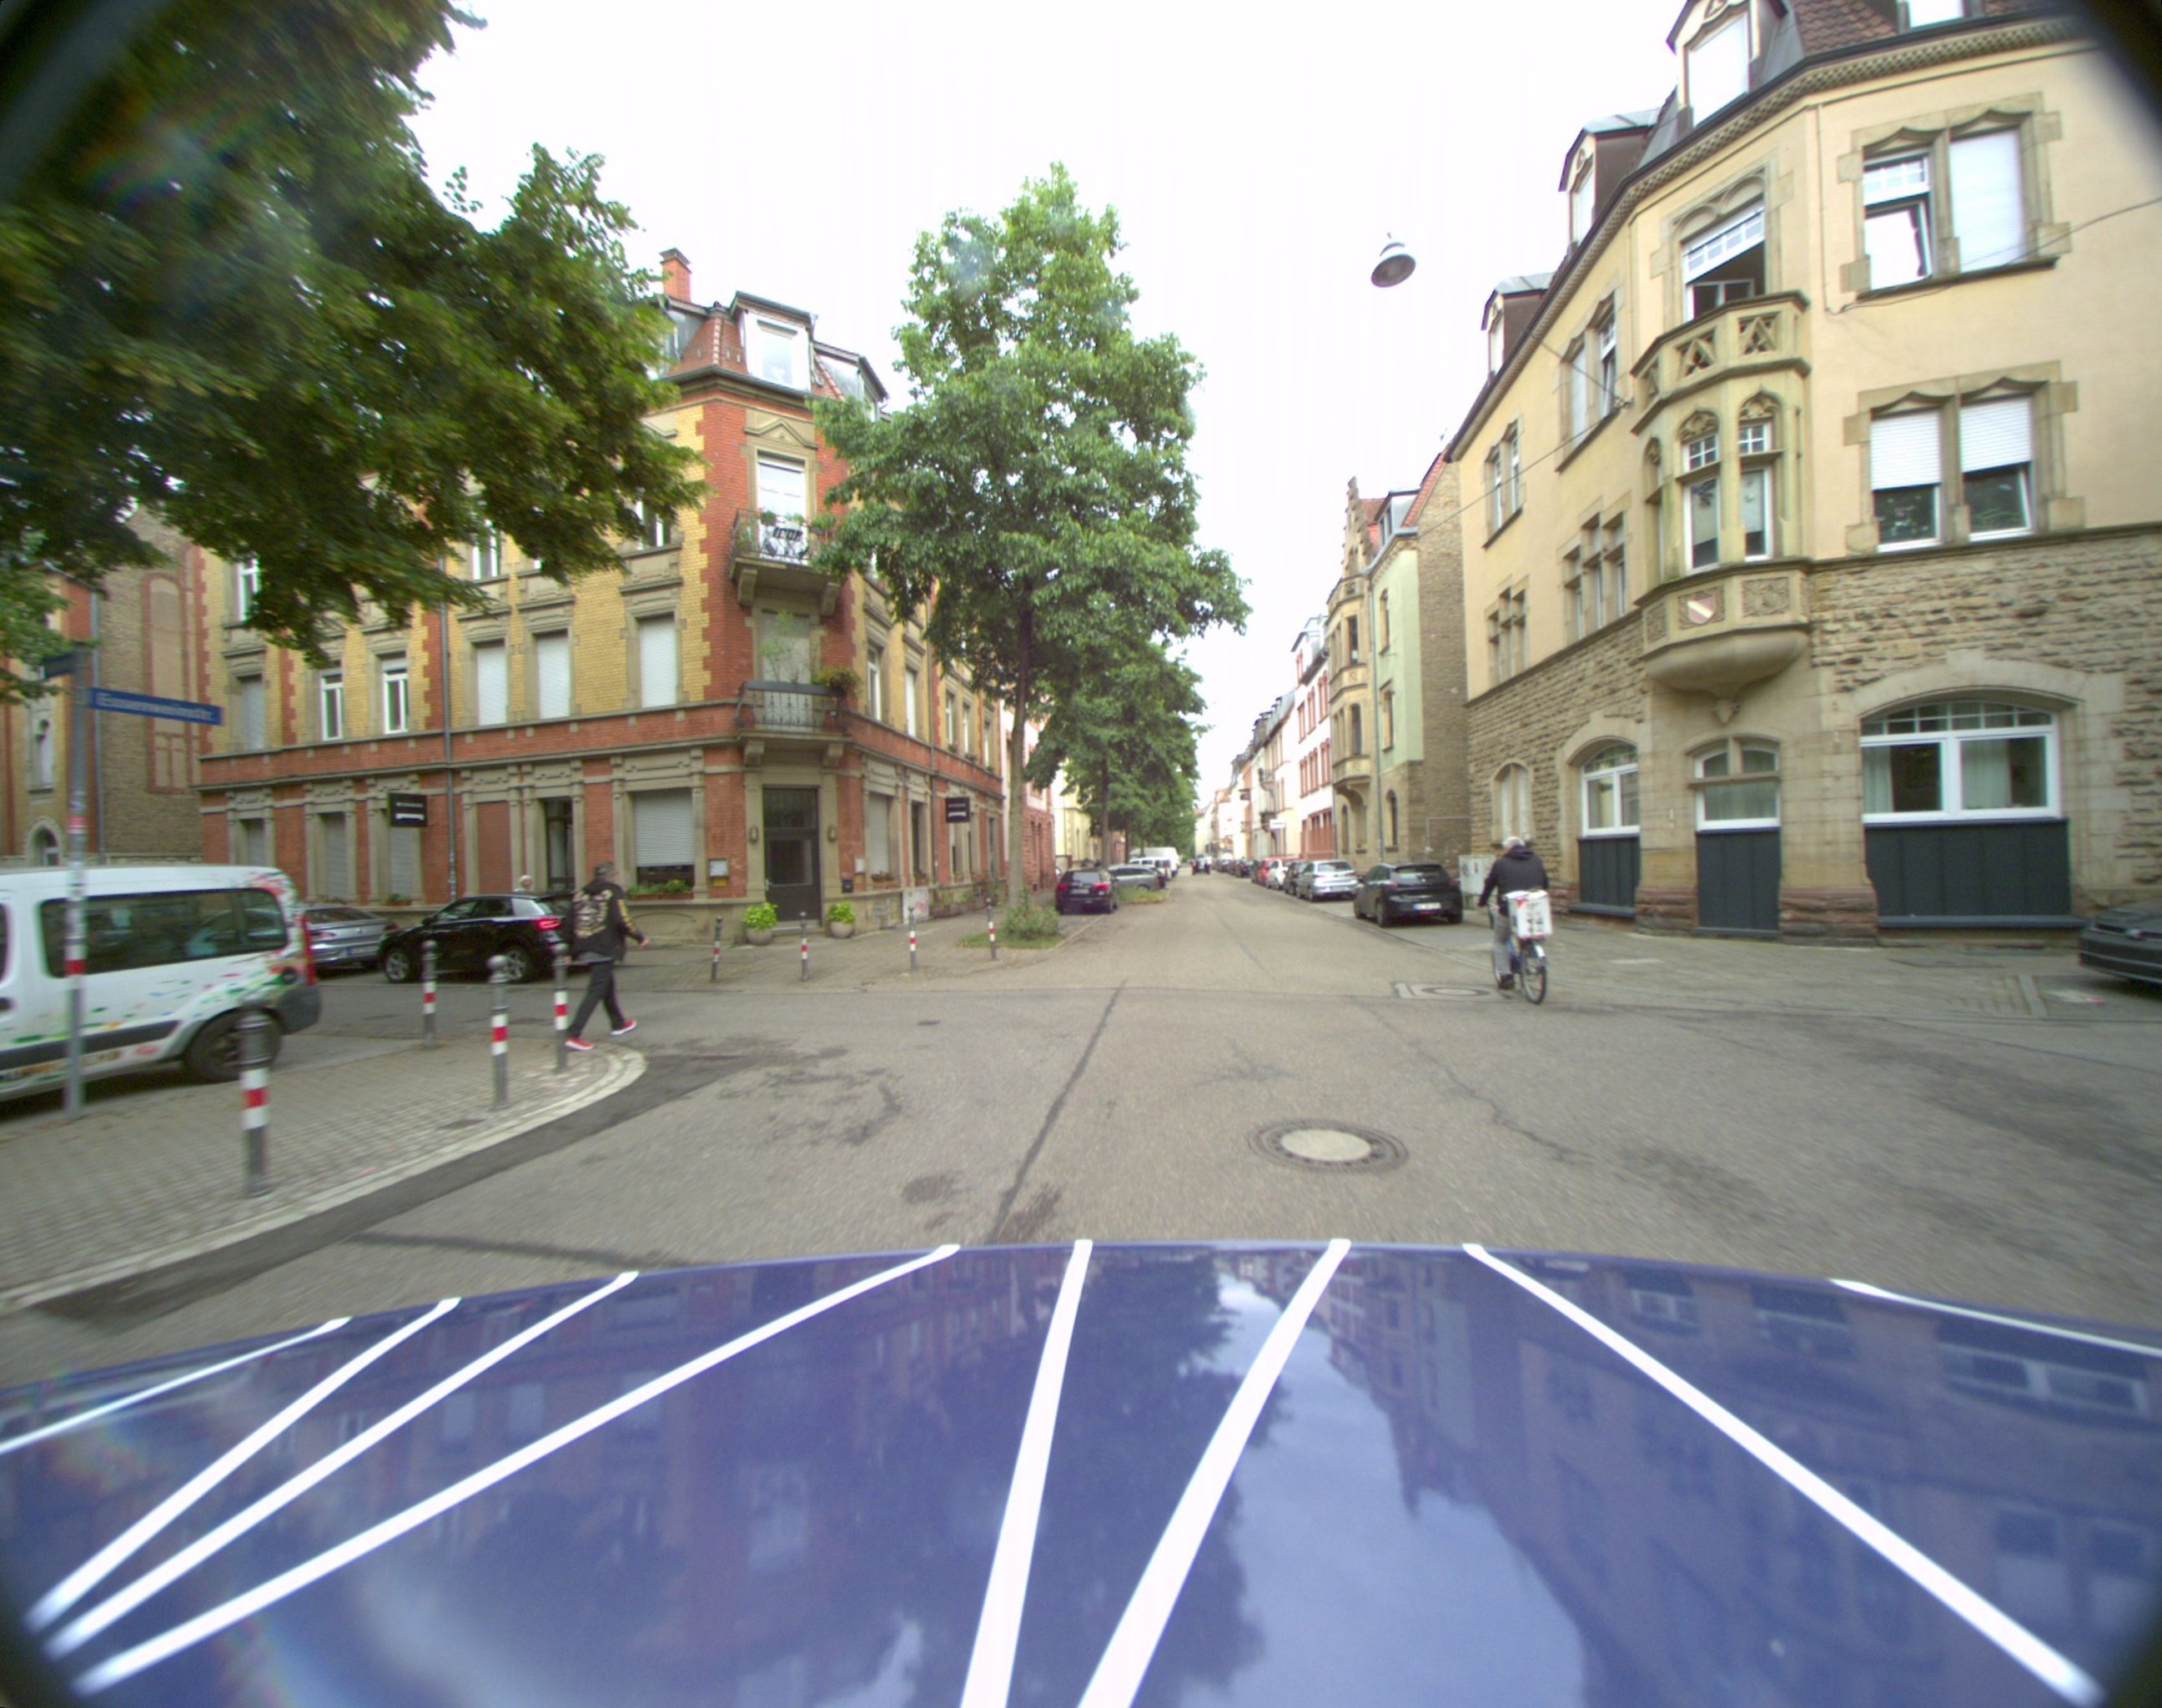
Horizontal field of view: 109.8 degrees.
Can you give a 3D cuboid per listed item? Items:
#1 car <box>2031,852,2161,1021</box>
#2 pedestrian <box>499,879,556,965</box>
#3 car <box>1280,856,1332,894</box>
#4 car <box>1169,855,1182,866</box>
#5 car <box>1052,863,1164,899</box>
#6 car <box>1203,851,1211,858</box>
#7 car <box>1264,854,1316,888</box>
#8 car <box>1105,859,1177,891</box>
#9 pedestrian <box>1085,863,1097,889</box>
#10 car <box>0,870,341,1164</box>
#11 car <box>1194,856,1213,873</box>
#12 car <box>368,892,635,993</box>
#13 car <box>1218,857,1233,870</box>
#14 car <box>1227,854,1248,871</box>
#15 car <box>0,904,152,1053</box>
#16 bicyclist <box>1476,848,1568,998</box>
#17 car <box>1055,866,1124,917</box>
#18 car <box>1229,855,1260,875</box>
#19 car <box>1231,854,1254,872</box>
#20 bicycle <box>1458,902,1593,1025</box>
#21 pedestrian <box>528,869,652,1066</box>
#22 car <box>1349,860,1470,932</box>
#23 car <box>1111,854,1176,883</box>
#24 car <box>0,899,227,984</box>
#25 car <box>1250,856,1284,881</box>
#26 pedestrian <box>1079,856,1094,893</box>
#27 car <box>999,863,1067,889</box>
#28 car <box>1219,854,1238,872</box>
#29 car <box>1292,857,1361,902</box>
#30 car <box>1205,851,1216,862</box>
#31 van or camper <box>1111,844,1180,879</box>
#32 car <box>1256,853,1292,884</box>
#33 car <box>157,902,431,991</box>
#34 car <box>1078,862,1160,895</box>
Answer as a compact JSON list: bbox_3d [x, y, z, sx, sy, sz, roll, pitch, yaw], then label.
[{"bbox_3d":[12.149,0.718,6.869,4.277,1.459,1.663,-2,4,14],"label":"car"},{"bbox_3d":[-11.407,1.387,15.656,0.747,1.696,0.563,-2,1,19],"label":"pedestrian"},{"bbox_3d":[9.400,0.861,31.995,1.520,1.425,3.458,-3,-1,8],"label":"car"},{"bbox_3d":[16.457,1.115,131.792,1.997,1.739,4.003,-2,0,10],"label":"car"},{"bbox_3d":[1.143,1.098,32.248,4.451,1.419,1.755,0,0,-26],"label":"car"},{"bbox_3d":[26.868,0.183,162.337,1.456,1.401,3.814,-3,-1,9],"label":"car"},{"bbox_3d":[10.142,0.820,37.050,1.670,1.502,3.555,-2,0,3],"label":"car"},{"bbox_3d":[3.282,1.138,41.780,3.470,1.553,1.784,-2,0,-15],"label":"car"},{"bbox_3d":[0.737,1.587,54.157,0.702,1.801,0.817,-2,0,8],"label":"pedestrian"},{"bbox_3d":[-7.733,1.084,4.825,1.773,1.808,4.003,-2,0,10],"label":"car"},{"bbox_3d":[12.624,1.021,78.568,1.813,1.620,4.210,-2,0,9],"label":"car"},{"bbox_3d":[-10.114,1.513,13.339,3.828,1.531,1.662,-2,0,14],"label":"car"},{"bbox_3d":[16.430,1.080,86.598,1.456,1.401,3.814,-3,-1,9],"label":"car"},{"bbox_3d":[14.845,0.799,72.102,1.609,1.463,3.345,-2,0,7],"label":"car"},{"bbox_3d":[-13.735,1.461,8.457,3.956,1.571,1.683,-2,-1,-20],"label":"car"},{"bbox_3d":[4.705,0.709,8.147,0.649,1.529,0.677,-1,0,10],"label":"bicyclist"},{"bbox_3d":[0.385,1.162,25.335,1.767,1.477,4.482,0,0,8],"label":"car"},{"bbox_3d":[12.440,0.828,57.978,1.903,1.382,4.003,-2,0,8],"label":"car"},{"bbox_3d":[13.987,0.765,65.971,1.659,1.375,3.474,-3,0,8],"label":"car"},{"bbox_3d":[4.702,1.107,8.182,0.635,1.087,1.801,-1,-1,10],"label":"bicycle"},{"bbox_3d":[-4.644,1.051,7.209,0.780,1.786,0.510,-2,0,10],"label":"pedestrian"},{"bbox_3d":[7.574,0.909,17.898,1.730,1.425,3.885,-3,-1,11],"label":"car"},{"bbox_3d":[4.228,0.988,51.003,3.991,1.801,1.722,-2,0,19],"label":"car"},{"bbox_3d":[-21.719,1.901,16.908,4.323,1.525,2.002,-2,2,19],"label":"car"},{"bbox_3d":[11.165,0.852,45.808,1.468,1.408,3.921,-3,-1,8],"label":"car"},{"bbox_3d":[0.250,0.952,35.803,0.598,1.723,0.664,-1,0,6],"label":"pedestrian"},{"bbox_3d":[-3.025,1.396,48.395,3.995,1.445,1.610,-2,0,7],"label":"car"},{"bbox_3d":[15.739,0.924,81.380,1.843,1.849,4.003,-2,0,9],"label":"car"},{"bbox_3d":[8.835,0.879,27.599,1.592,1.425,3.812,-3,-1,6],"label":"car"},{"bbox_3d":[24.822,0.481,145.728,2.051,2.071,3.814,-3,-1,9],"label":"car"},{"bbox_3d":[5.188,0.564,61.130,5.075,2.575,2.070,-2,0,-23],"label":"van or camper"},{"bbox_3d":[10.583,0.782,41.840,1.468,1.521,3.571,-3,-1,8],"label":"car"},{"bbox_3d":[-15.417,1.761,14.939,4.323,1.347,2.002,-2,2,19],"label":"car"},{"bbox_3d":[1.896,1.206,38.025,3.698,1.457,1.702,-2,0,-24],"label":"car"}]
